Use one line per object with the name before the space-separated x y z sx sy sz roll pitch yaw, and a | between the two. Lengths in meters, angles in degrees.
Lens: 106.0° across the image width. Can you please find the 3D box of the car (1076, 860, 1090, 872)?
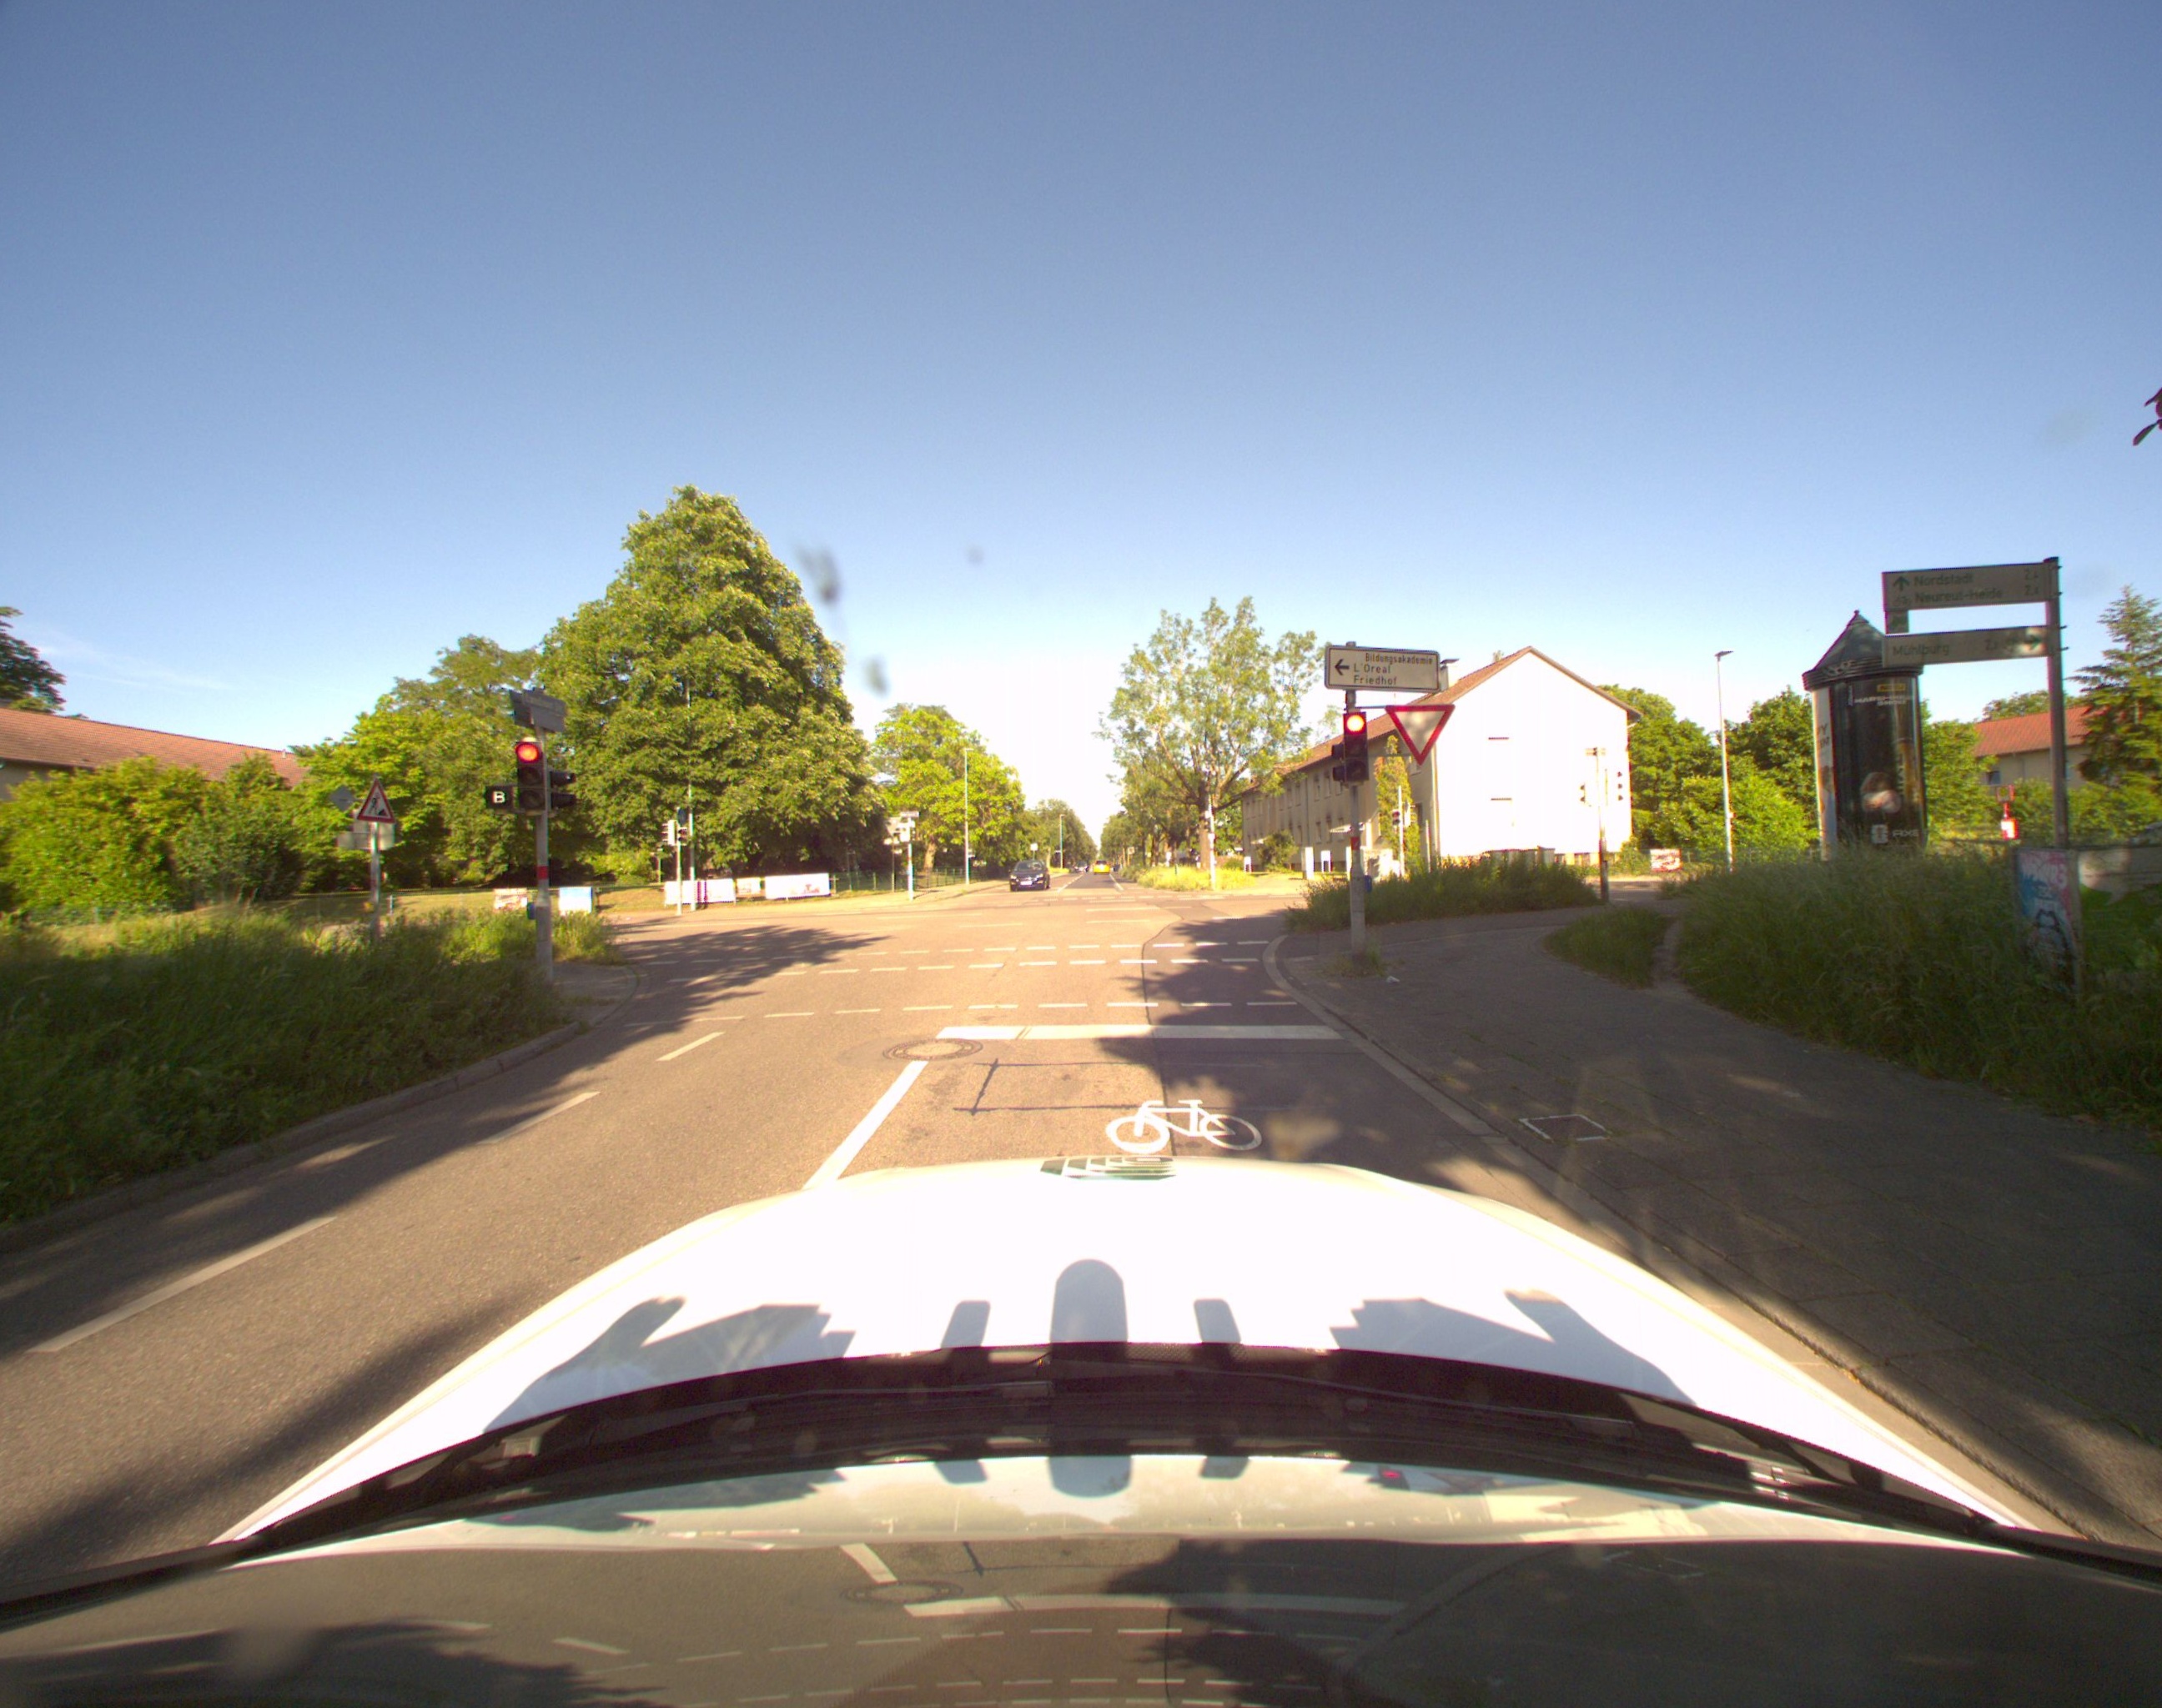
car | 0.239 1.632 114.693 1.751 1.624 3.271 -2 0 3

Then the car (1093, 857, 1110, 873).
car | 2.240 1.171 87.550 1.745 1.582 4.002 -1 -1 2

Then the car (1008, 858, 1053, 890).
car | -2.373 0.916 38.825 1.704 1.385 3.473 -2 0 3

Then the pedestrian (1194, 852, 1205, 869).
pedestrian | 10.403 0.574 71.578 0.839 1.493 0.924 1 0 1
